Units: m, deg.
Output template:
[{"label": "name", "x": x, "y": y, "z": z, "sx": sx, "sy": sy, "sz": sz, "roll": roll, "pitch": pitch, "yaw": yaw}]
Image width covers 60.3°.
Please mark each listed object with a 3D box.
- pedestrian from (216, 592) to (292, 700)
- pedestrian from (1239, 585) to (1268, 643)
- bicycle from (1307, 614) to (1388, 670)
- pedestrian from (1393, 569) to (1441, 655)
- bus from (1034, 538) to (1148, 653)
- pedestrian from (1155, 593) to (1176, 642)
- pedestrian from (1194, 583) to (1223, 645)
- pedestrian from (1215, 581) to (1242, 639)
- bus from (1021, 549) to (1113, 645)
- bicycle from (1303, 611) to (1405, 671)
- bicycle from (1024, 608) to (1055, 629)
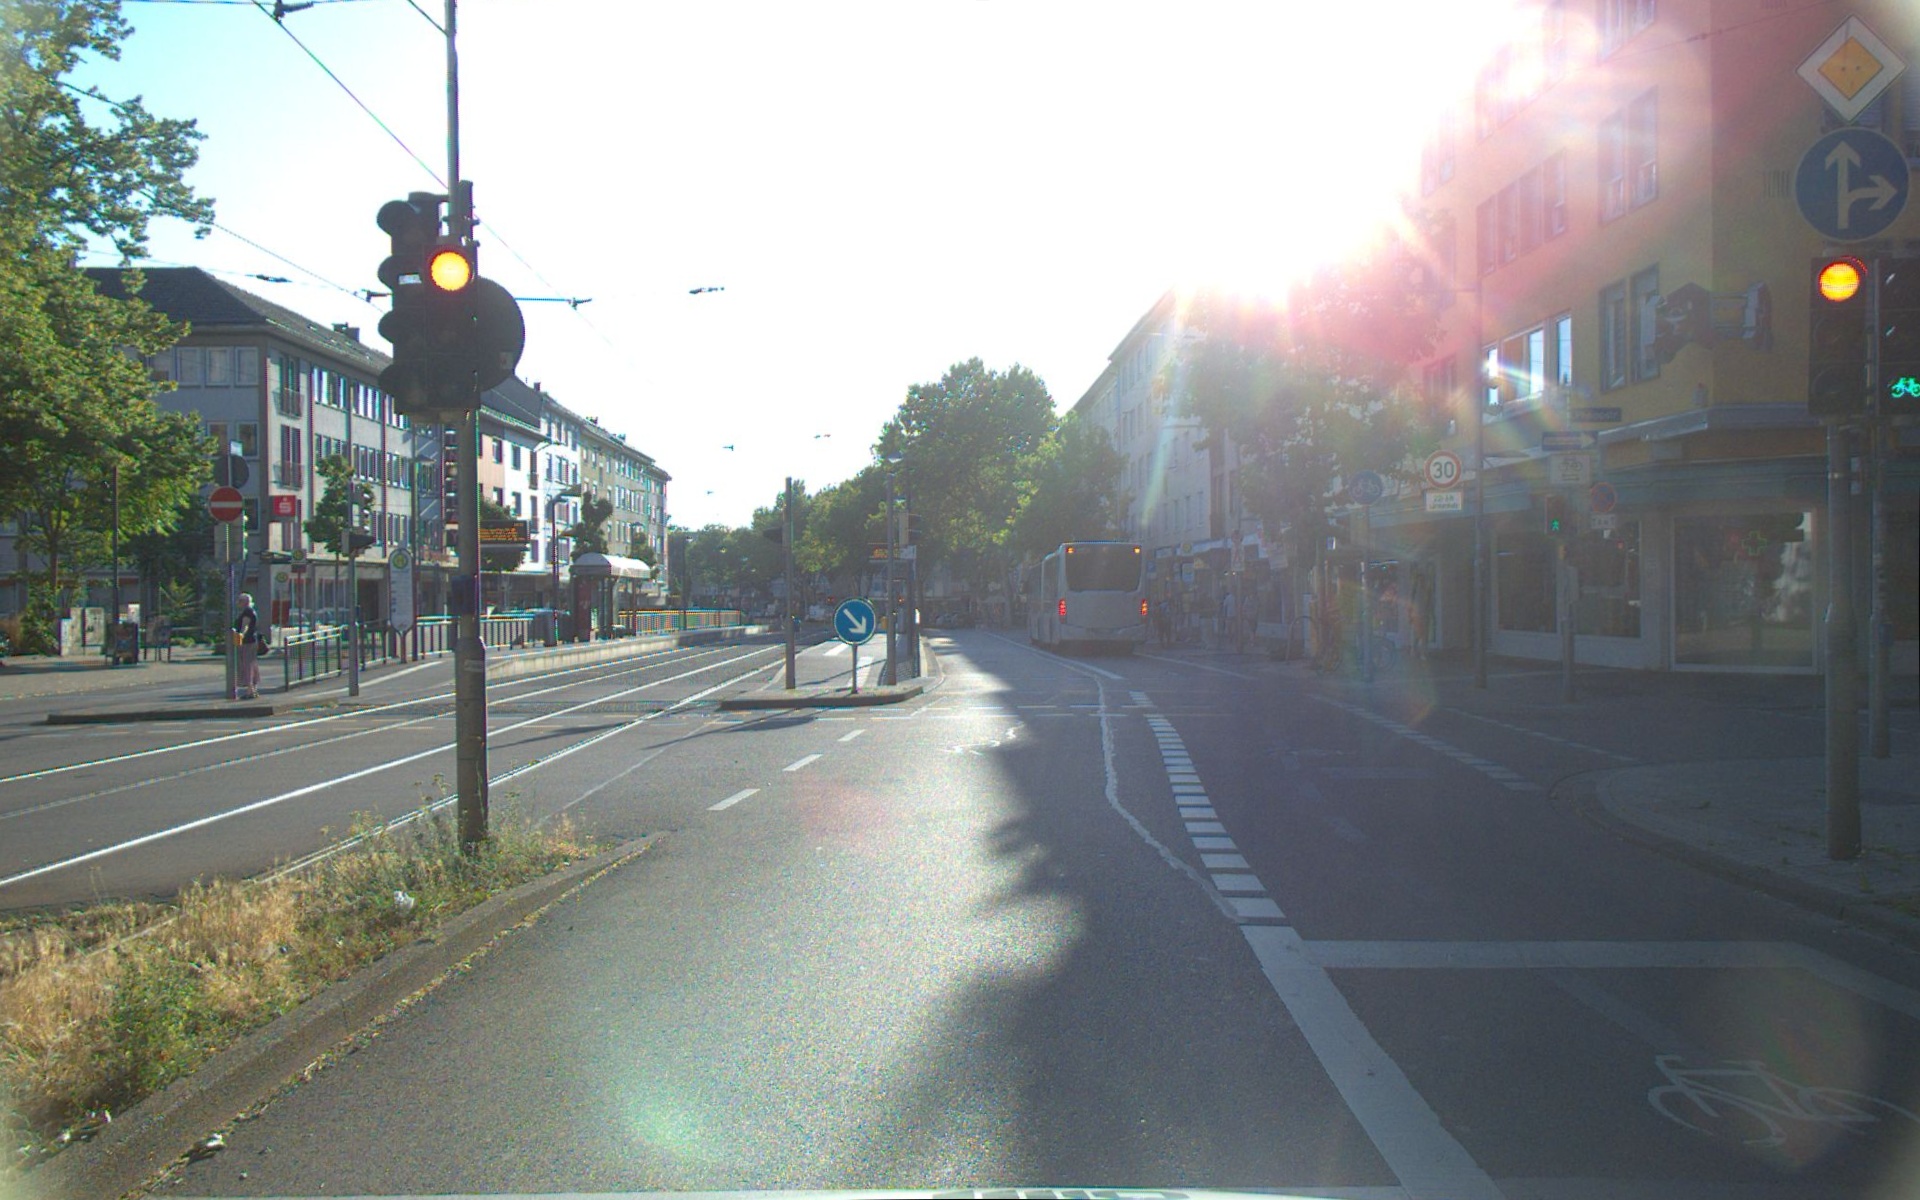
[{"label": "pedestrian", "x": -12.002, "y": 0.778, "z": 28.138, "sx": 0.900, "sy": 1.791, "sz": 0.832, "roll": -1, "pitch": -1, "yaw": 0}, {"label": "pedestrian", "x": 8.939, "y": 0.423, "z": 50.345, "sx": 0.709, "sy": 1.753, "sz": 0.766, "roll": -1, "pitch": -1, "yaw": -2}, {"label": "bicycle", "x": 7.477, "y": 0.806, "z": 31.950, "sx": 1.453, "sy": 1.026, "sz": 0.454, "roll": -1, "pitch": 0, "yaw": -5}, {"label": "pedestrian", "x": 9.671, "y": 0.256, "z": 35.037, "sx": 0.728, "sy": 1.811, "sz": 0.894, "roll": 0, "pitch": -1, "yaw": -2}, {"label": "bus", "x": 3.820, "y": -0.104, "z": 50.265, "sx": 2.641, "sy": 3.173, "sz": 9.380, "roll": 0, "pitch": 0, "yaw": -1}, {"label": "pedestrian", "x": 6.811, "y": 0.564, "z": 54.818, "sx": 0.597, "sy": 1.606, "sz": 0.851, "roll": -1, "pitch": 0, "yaw": 4}, {"label": "pedestrian", "x": 7.424, "y": 0.408, "z": 49.523, "sx": 0.709, "sy": 1.838, "sz": 0.766, "roll": -1, "pitch": -1, "yaw": -2}, {"label": "pedestrian", "x": 8.557, "y": 0.312, "z": 52.741, "sx": 0.709, "sy": 1.810, "sz": 0.766, "roll": -1, "pitch": -1, "yaw": -2}, {"label": "bus", "x": 3.729, "y": -0.080, "z": 59.472, "sx": 2.641, "sy": 3.173, "sz": 9.068, "roll": 0, "pitch": 0, "yaw": -1}, {"label": "bicycle", "x": 7.451, "y": 0.763, "z": 31.293, "sx": 1.763, "sy": 1.026, "sz": 0.540, "roll": -3, "pitch": 0, "yaw": -5}, {"label": "bicycle", "x": 4.847, "y": 1.128, "z": 100.994, "sx": 1.848, "sy": 1.096, "sz": 0.754, "roll": -5, "pitch": 0, "yaw": 1}]
